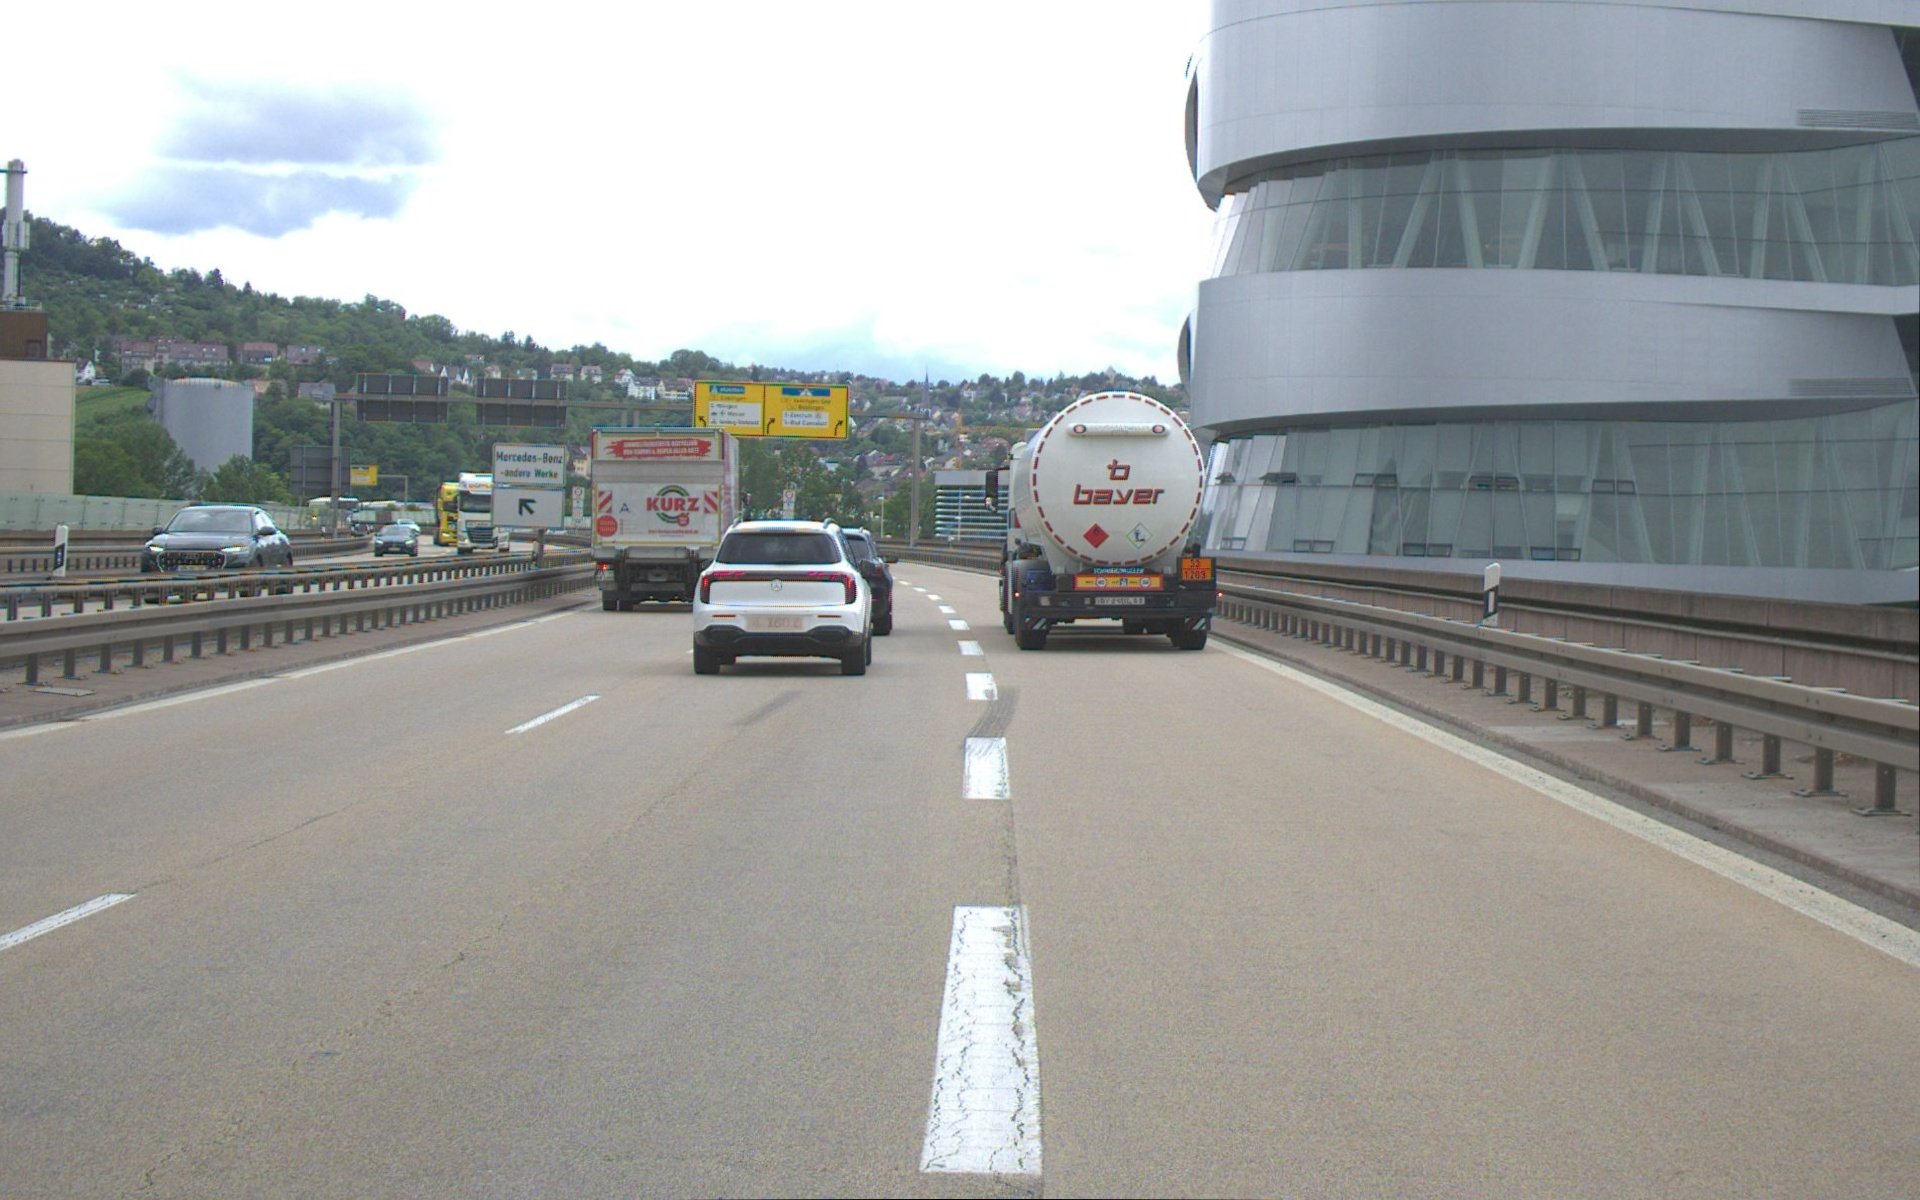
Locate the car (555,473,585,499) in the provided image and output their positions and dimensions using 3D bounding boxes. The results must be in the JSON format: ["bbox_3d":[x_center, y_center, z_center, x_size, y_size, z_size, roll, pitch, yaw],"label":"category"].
[{"bbox_3d":[-26.452,-7.721,233.092,1.993,1.601,4.808,0,1,-6],"label":"car"}]

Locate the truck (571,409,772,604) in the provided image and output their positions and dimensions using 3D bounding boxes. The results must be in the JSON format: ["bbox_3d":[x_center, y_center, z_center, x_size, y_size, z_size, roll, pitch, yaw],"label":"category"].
[{"bbox_3d":[-5.695,-1.818,69.275,3.057,3.678,8.303,1,1,2],"label":"truck"}]

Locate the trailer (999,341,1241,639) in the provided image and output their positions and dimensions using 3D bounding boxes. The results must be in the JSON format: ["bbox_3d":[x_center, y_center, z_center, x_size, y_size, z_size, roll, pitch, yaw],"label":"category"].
[{"bbox_3d":[2.179,-1.457,48.064,3.057,3.777,8.303,1,1,2],"label":"trailer"}]

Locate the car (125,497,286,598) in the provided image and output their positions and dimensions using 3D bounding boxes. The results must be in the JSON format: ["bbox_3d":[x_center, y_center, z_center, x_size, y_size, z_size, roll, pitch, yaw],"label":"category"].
[{"bbox_3d":[-13.292,-0.913,60.782,1.762,1.644,4.335,3,1,1],"label":"car"}]

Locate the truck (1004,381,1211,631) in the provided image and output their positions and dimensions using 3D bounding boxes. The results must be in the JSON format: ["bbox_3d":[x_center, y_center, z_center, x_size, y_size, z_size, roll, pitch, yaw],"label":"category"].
[{"bbox_3d":[2.222,-1.417,53.770,3.014,3.644,6.273,0,1,1],"label":"truck"}]

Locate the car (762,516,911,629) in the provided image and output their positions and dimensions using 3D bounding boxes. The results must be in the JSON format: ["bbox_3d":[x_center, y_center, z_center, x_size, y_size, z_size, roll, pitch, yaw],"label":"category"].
[{"bbox_3d":[-1.874,-0.435,53.341,1.993,1.669,4.408,1,1,2],"label":"car"}]

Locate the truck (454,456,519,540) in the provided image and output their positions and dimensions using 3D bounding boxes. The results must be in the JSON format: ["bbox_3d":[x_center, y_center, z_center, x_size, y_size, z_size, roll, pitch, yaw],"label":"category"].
[{"bbox_3d":[-23.521,-5.036,171.001,2.771,4.065,5.647,0,0,-3],"label":"truck"}]

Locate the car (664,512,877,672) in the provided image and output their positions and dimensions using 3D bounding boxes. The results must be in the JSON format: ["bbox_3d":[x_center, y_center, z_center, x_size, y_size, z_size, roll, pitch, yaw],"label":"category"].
[{"bbox_3d":[-2.055,-0.105,38.500,1.993,1.669,4.408,1,1,2],"label":"car"}]

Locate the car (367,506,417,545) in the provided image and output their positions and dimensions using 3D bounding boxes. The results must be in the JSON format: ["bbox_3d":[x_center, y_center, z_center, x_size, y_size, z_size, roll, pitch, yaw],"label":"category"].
[{"bbox_3d":[-25.441,-3.319,154.122,1.683,1.644,4.360,2,1,-3],"label":"car"}]

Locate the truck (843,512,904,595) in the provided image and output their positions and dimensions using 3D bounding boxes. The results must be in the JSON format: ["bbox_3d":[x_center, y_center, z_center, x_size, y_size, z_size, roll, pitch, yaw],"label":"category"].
[{"bbox_3d":[-4.909,-2.623,193.063,3.056,4.546,8.305,0,1,-4],"label":"truck"}]
